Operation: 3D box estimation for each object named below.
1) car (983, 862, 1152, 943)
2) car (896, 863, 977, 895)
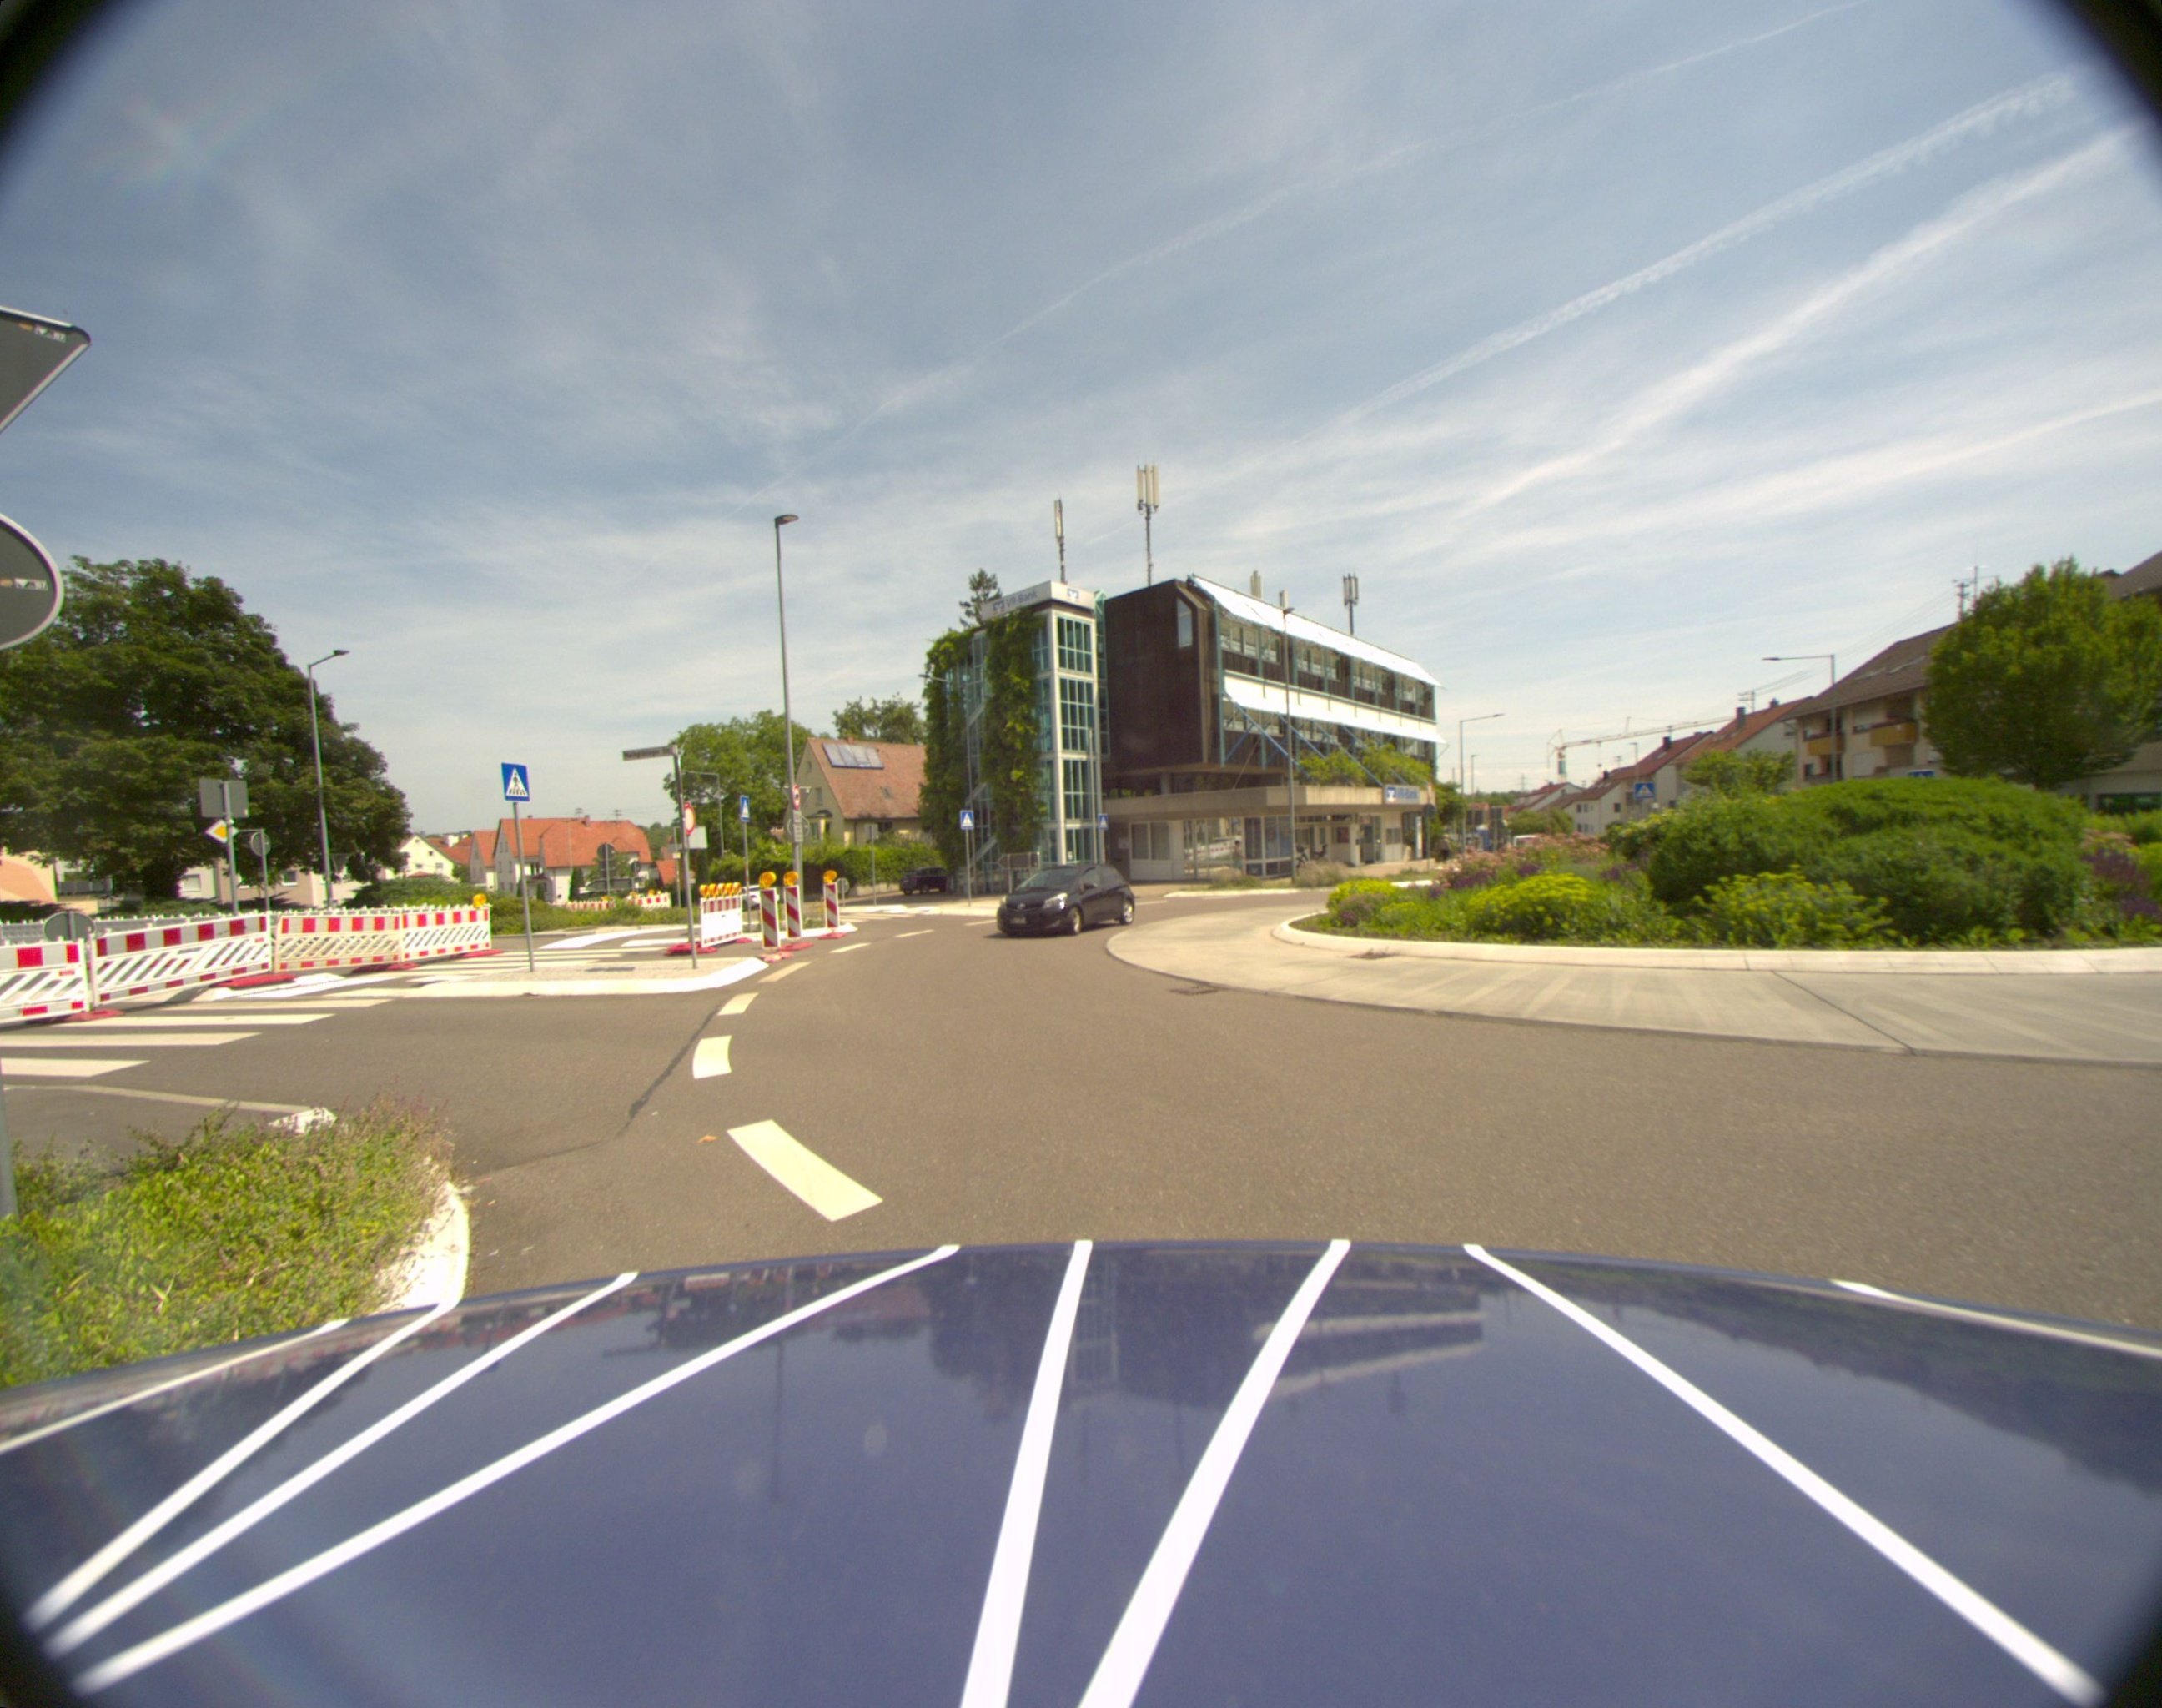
[{"bbox_3d":[-0.133,0.994,16.934,1.722,1.448,4.438,-3,0,29],"label":"car"},{"bbox_3d":[-8.385,1.431,44.301,4.234,1.429,1.859,-6,2,-44],"label":"car"}]
